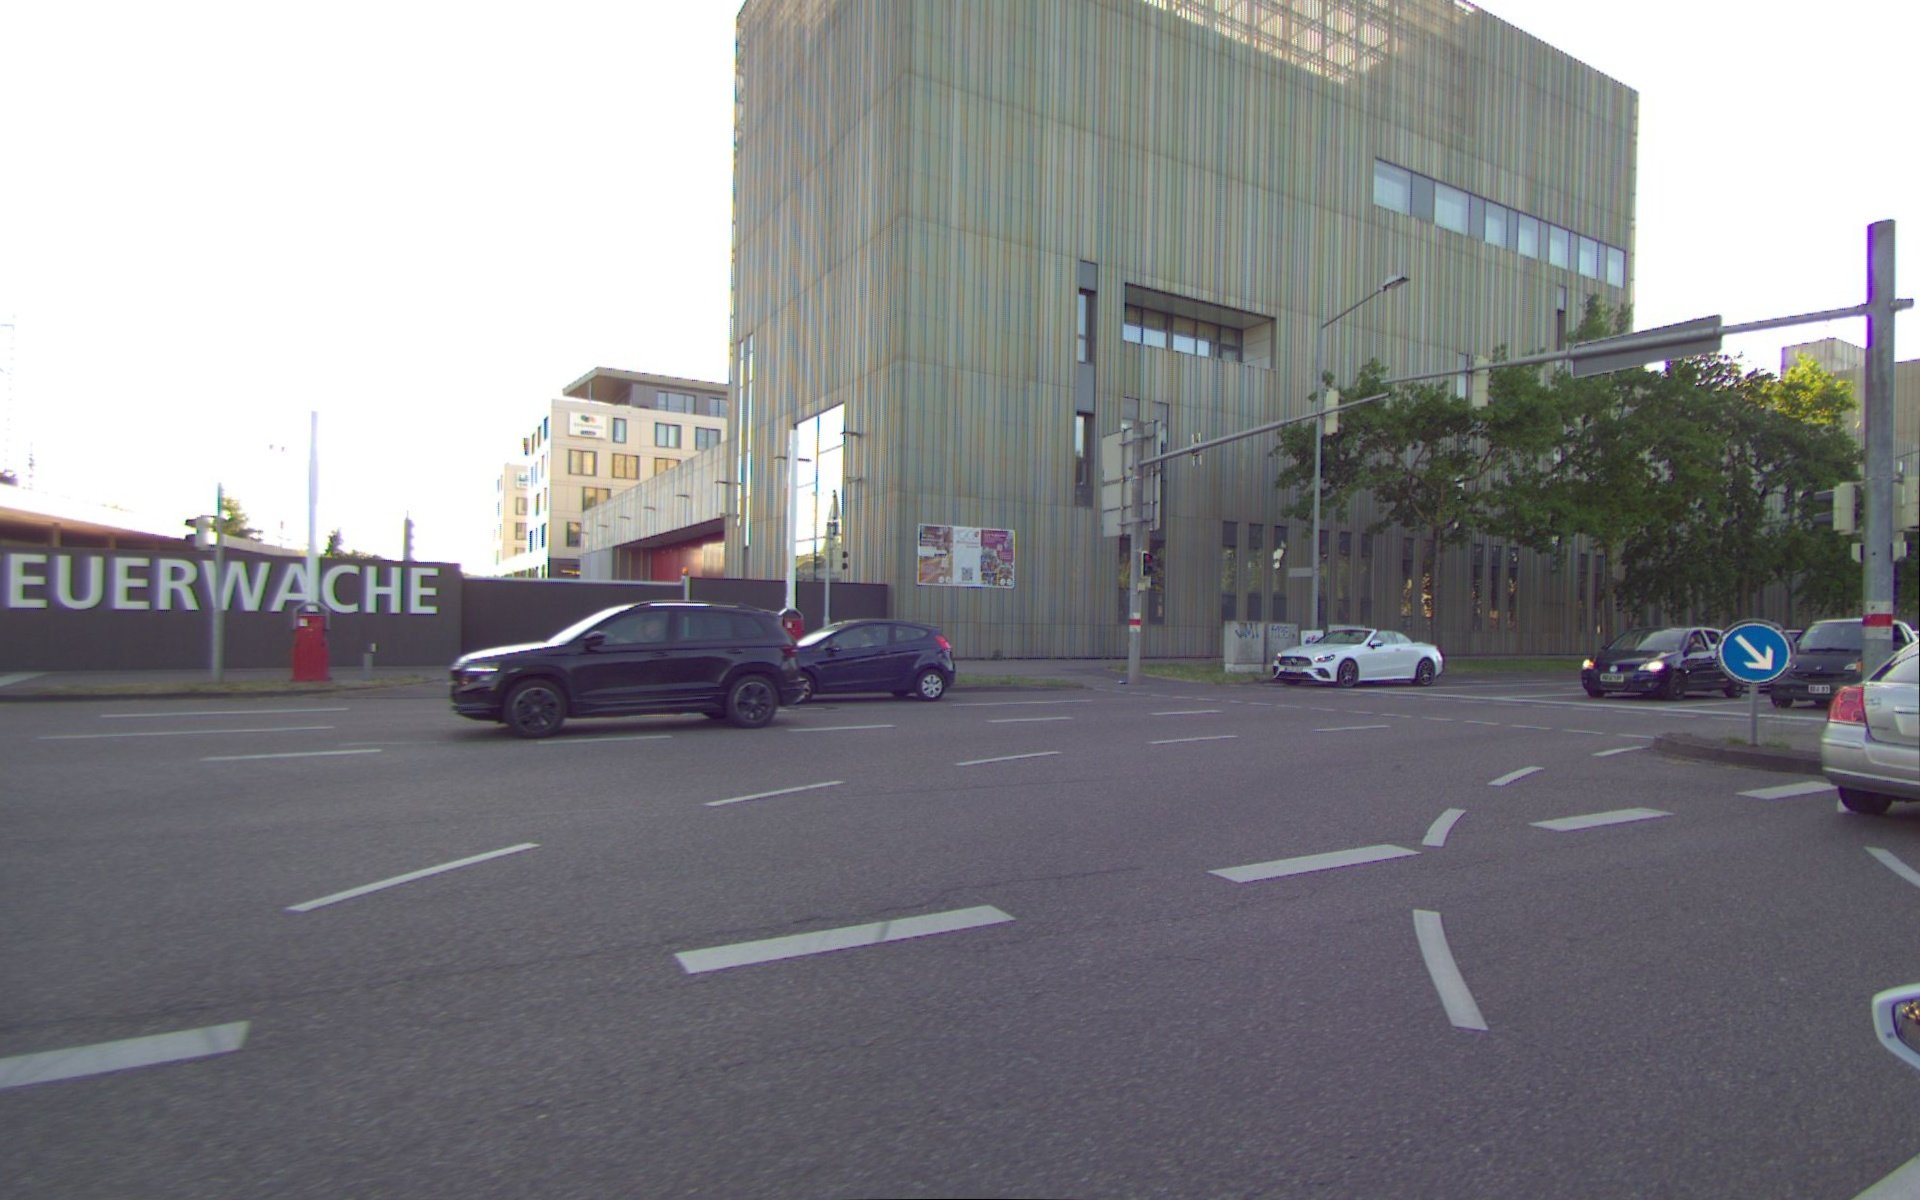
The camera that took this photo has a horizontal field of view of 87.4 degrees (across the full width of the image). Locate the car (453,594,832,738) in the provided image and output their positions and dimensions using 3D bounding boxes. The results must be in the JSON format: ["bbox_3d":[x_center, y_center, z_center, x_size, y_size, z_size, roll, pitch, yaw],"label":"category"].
[{"bbox_3d":[-3.973,0.823,12.839,4.349,1.565,1.638,2,-3,-32],"label":"car"}]

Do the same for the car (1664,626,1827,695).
[{"bbox_3d":[18.264,1.398,23.323,4.029,1.462,1.628,2,-3,-31],"label":"car"}]

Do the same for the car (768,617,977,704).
[{"bbox_3d":[-1.584,1.089,18.247,3.445,1.453,1.642,2,-3,-25],"label":"car"}]

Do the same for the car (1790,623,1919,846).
[{"bbox_3d":[8.454,0.990,7.770,4.267,1.499,1.725,2,-1,-30],"label":"car"}]

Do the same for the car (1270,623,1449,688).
[{"bbox_3d":[9.792,1.353,24.520,4.507,1.462,1.681,2,-3,-31],"label":"car"}]

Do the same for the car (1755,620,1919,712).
[{"bbox_3d":[15.871,1.148,17.749,3.676,1.462,1.628,2,-3,-31],"label":"car"}]

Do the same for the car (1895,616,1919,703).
[{"bbox_3d":[21.954,1.287,21.490,4.035,1.820,1.749,2,-3,-31],"label":"car"}]

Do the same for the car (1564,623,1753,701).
[{"bbox_3d":[14.263,1.250,20.458,4.029,1.462,1.628,2,-3,-31],"label":"car"}]
